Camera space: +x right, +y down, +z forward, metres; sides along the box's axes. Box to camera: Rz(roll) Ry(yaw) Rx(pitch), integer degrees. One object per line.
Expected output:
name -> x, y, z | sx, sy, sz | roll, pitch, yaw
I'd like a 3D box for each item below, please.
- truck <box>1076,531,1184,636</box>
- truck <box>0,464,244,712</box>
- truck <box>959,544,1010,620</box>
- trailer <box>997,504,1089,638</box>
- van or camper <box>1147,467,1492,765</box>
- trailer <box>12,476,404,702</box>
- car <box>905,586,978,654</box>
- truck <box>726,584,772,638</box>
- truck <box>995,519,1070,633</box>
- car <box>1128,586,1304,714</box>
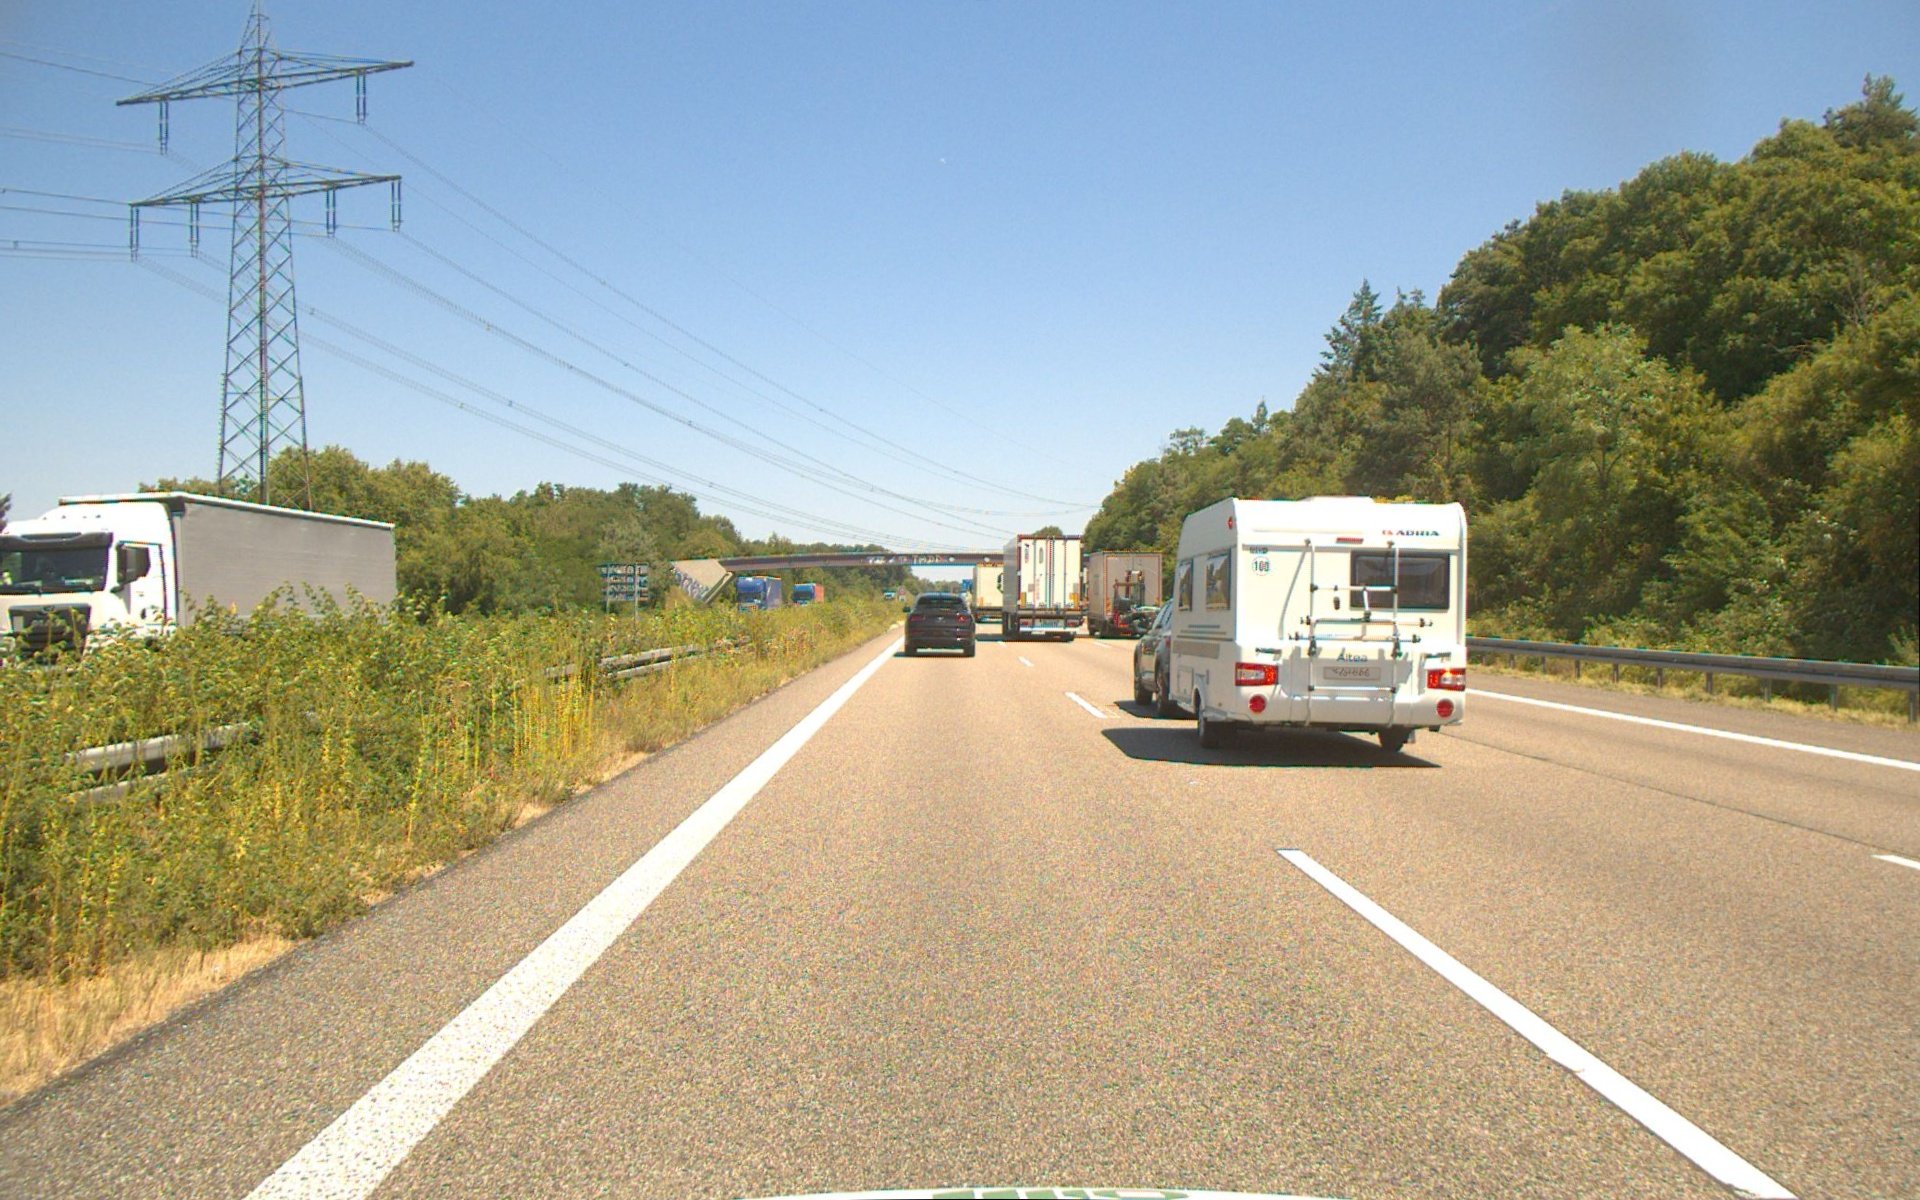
truck -> 7.520, -0.650, 74.914 | 3.498, 4.319, 11.650 | 1, 0, -1
truck -> -17.654, -0.187, 33.614 | 3.300, 4.485, 6.554 | -2, 0, -1
truck -> 1.720, -1.276, 121.529 | 3.440, 5.257, 10.257 | 1, 0, -1
trailer -> 3.279, -1.069, 68.751 | 3.024, 4.970, 12.256 | 1, 0, -1
van or camper -> 3.667, 0.130, 18.382 | 2.389, 2.721, 6.349 | 0, 0, -1
trailer -> -17.801, -0.237, 41.024 | 3.300, 4.485, 14.316 | -3, 0, -1
car -> -0.564, 0.526, 46.443 | 1.953, 1.803, 3.999 | 0, 0, -2
truck -> -18.525, 0.948, 145.520 | 3.025, 4.484, 6.800 | -3, 0, -1
truck -> 3.249, -1.036, 76.011 | 3.024, 4.970, 6.596 | 1, 0, -1
car -> 3.571, 0.647, 23.902 | 1.840, 1.640, 4.702 | -1, 0, 0
